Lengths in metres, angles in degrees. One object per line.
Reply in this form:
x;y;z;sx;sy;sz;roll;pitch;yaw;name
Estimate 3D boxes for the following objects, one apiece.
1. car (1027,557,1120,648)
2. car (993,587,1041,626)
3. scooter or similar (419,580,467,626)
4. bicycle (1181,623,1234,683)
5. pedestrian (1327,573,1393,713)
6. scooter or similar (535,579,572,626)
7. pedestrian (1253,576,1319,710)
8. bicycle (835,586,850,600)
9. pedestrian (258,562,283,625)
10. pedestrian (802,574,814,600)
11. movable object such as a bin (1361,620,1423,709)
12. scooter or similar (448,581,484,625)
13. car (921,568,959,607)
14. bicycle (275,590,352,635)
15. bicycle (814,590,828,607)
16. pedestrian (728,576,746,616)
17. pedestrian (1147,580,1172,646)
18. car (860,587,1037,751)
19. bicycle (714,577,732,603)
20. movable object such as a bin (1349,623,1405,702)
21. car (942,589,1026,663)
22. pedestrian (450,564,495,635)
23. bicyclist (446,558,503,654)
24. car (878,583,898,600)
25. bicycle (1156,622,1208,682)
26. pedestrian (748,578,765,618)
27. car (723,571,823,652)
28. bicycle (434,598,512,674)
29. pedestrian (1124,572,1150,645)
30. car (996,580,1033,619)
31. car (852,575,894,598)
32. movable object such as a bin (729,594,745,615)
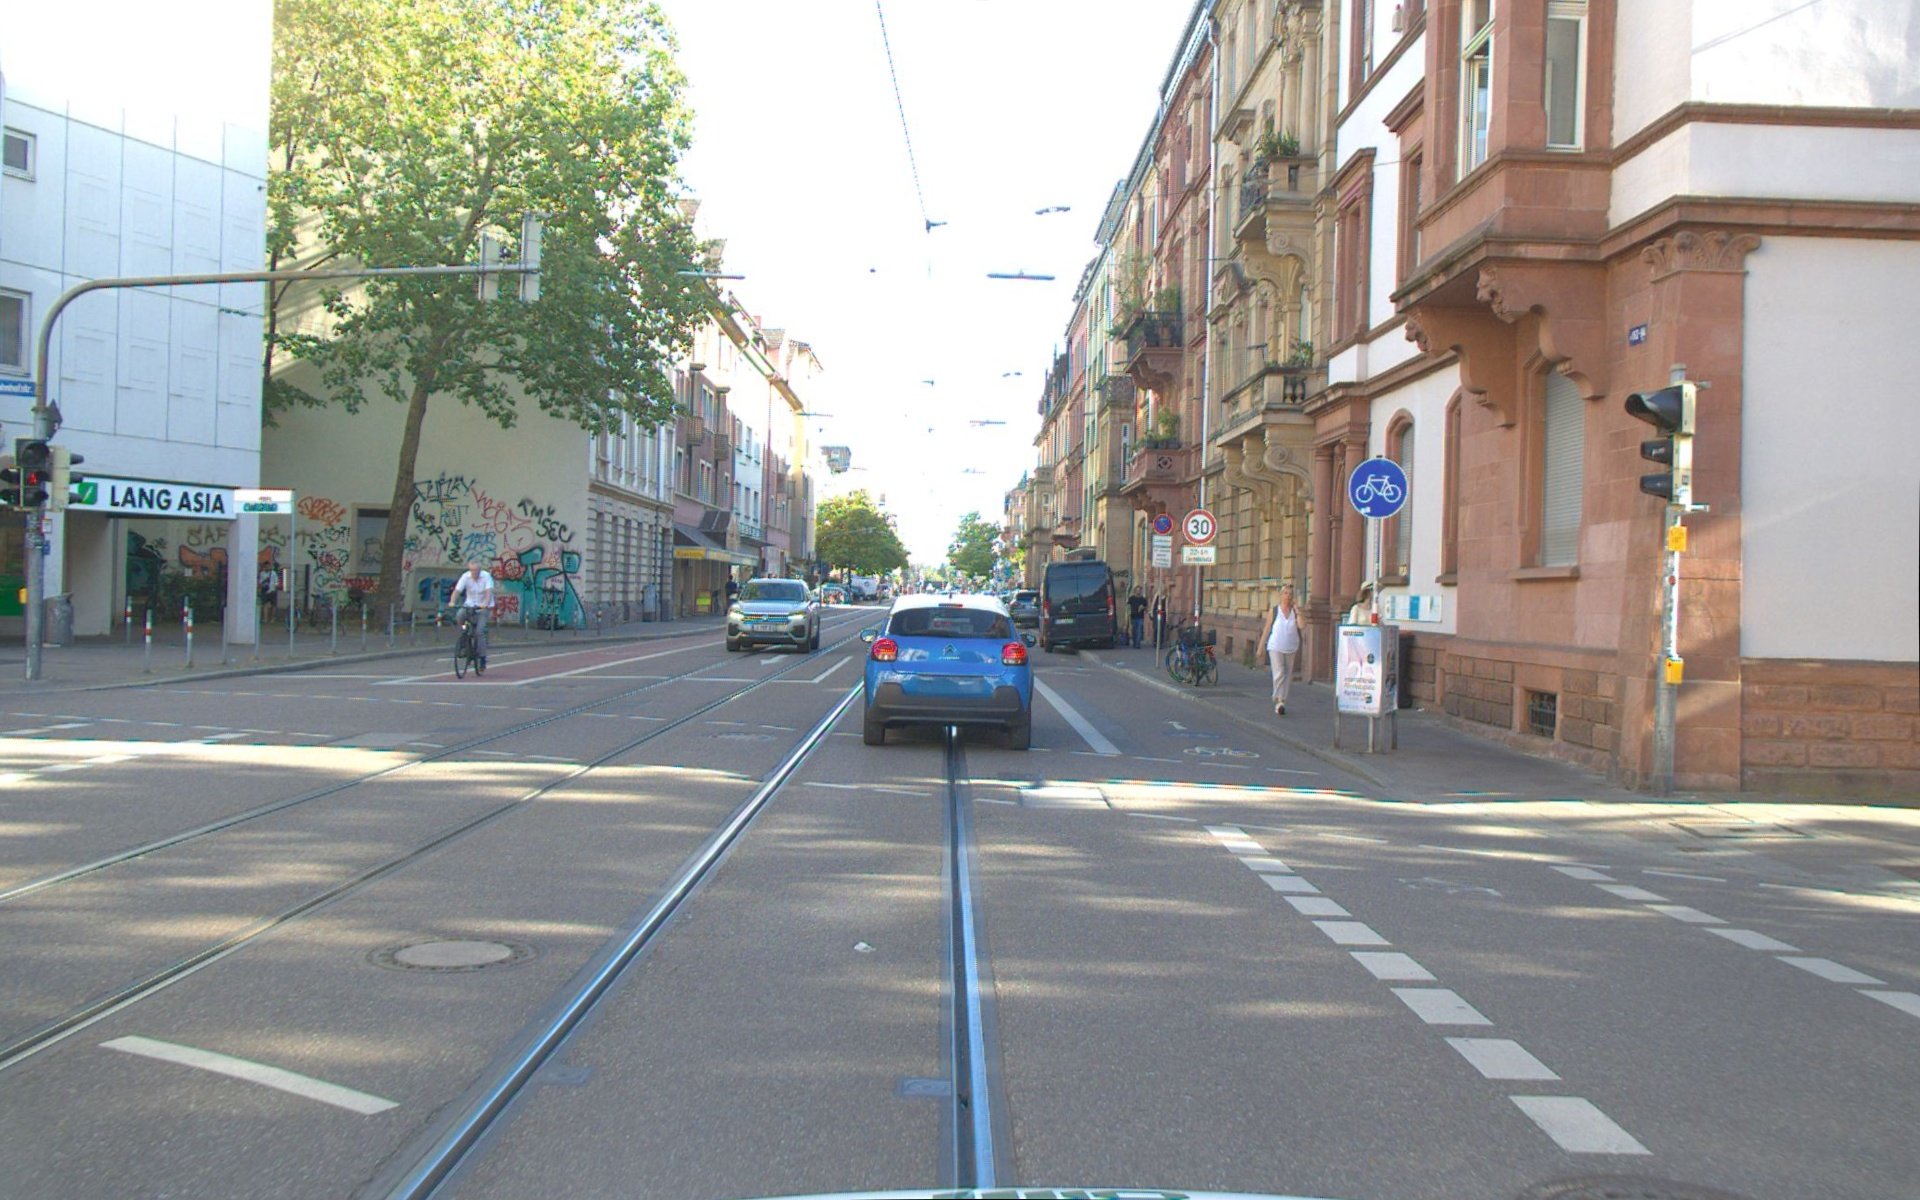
3.300;0.051;49.202;2.225;2.479;5.719;2;0;-1;car
2.611;0.277;76.393;1.965;1.701;4.805;1;0;-1;car
-14.774;0.084;47.276;1.207;1.280;0.765;2;0;-13;scooter or similar
4.292;0.905;28.764;0.423;0.964;1.760;2;0;-8;bicycle
5.269;0.561;21.805;0.691;1.813;0.672;0;0;-2;pedestrian
-12.000;0.079;48.810;0.772;1.293;1.074;4;2;-2;scooter or similar
4.311;0.557;21.895;0.615;1.731;0.681;1;0;-10;pedestrian
-9.991;-0.569;140.449;1.099;1.166;3.639;1;0;-6;bicycle
-19.578;-0.188;46.954;0.446;1.748;0.547;1;0;-2;pedestrian
-9.740;-0.835;106.085;0.671;1.667;0.675;1;0;-2;pedestrian
6.066;0.899;23.240;0.652;1.173;0.594;-3;1;-2;movable object such as a bin
-14.391;0.081;48.236;0.921;1.243;0.765;2;0;-13;scooter or similar
-1.112;-0.689;90.214;1.953;2.049;3.999;1;0;-2;car
-15.973;0.311;40.874;1.878;1.052;0.664;2;0;26;bicycle
-11.830;-0.122;140.516;1.099;1.342;3.639;1;0;-6;bicycle
-10.103;-0.202;74.939;0.696;1.795;0.570;1;0;-2;pedestrian
5.609;0.364;46.520;0.542;1.813;0.606;1;0;-2;pedestrian
-0.027;0.643;17.647;1.639;1.503;4.001;2;0;2;car
-10.938;-0.472;76.325;0.610;1.180;2.058;1;0;-14;bicycle
6.009;0.894;23.855;0.652;1.095;0.571;0;0;-2;movable object such as a bin
0.476;0.523;36.210;1.633;1.504;3.999;1;0;-2;car
-12.610;-0.017;42.811;0.668;1.796;1.026;2;0;10;pedestrian
-7.818;0.096;26.646;0.668;1.509;0.778;1;0;-2;bicyclist
-7.249;-0.890;167.404;1.953;1.680;3.999;1;0;-2;car
3.839;0.893;28.690;0.423;0.964;1.760;2;0;-8;bicycle
-9.225;-0.105;75.084;0.697;1.795;0.653;1;0;-9;pedestrian
-4.397;0.248;39.555;1.953;1.774;4.561;2;0;-2;car
-7.840;0.554;26.712;0.679;1.140;2.083;1;0;-2;bicycle
5.057;0.245;47.243;0.573;2.049;0.823;2;0;-2;pedestrian
3.295;-0.068;100.487;1.965;1.699;4.395;3;7;-1;car
-9.905;-1.538;188.269;4.256;2.626;2.191;0;0;-27;car
-10.211;0.214;75.735;0.598;0.930;0.695;1;0;-1;movable object such as a bin
